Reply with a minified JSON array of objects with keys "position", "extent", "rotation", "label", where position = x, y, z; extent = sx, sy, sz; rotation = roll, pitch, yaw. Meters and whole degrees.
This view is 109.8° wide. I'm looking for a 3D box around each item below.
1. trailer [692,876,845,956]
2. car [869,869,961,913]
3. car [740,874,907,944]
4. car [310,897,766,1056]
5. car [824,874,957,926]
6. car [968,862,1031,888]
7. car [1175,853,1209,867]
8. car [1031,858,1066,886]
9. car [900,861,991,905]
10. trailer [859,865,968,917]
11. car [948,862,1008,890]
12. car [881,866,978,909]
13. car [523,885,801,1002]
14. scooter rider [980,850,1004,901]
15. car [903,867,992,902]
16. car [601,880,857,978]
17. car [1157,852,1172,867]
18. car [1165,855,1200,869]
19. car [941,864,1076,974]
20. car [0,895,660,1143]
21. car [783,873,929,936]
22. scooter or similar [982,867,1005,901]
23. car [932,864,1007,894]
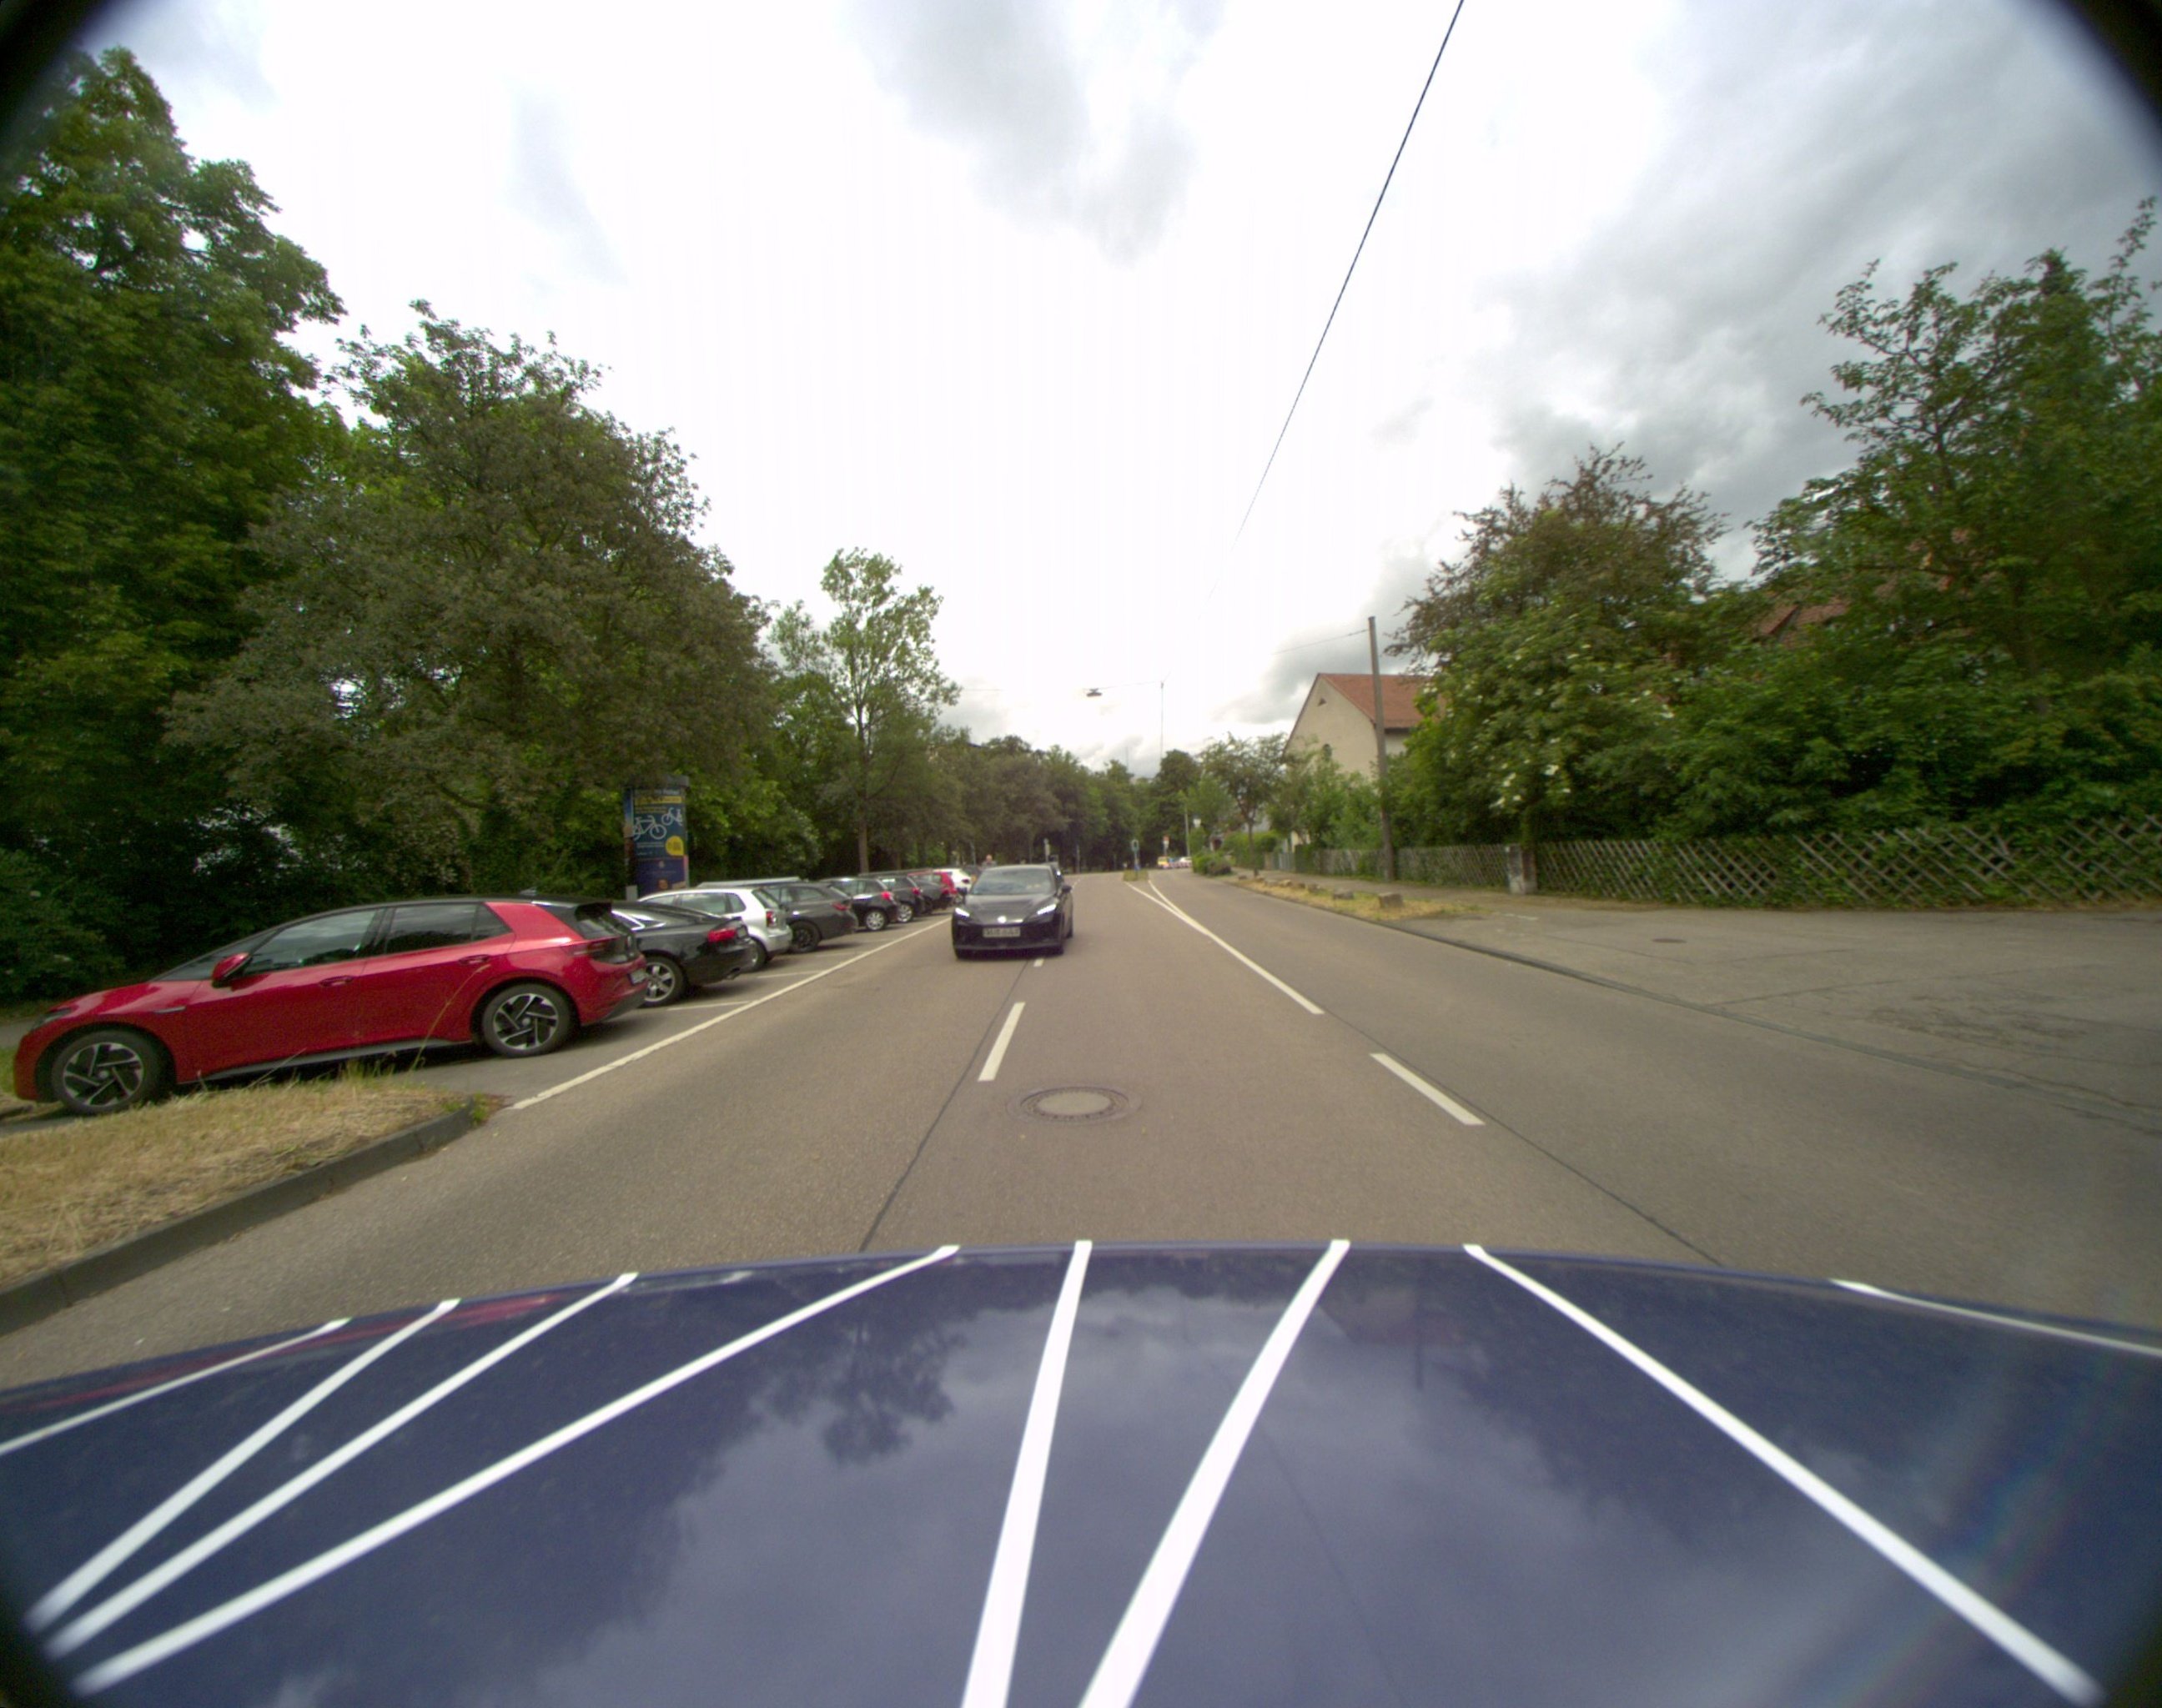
[{"position":[-7.150,1.383,17.639],"extent":[2.996,1.533,1.302],"rotation":[-4,-1,-12],"label":"trailer"},{"position":[-6.602,1.464,30.388],"extent":[3.436,1.437,1.558],"rotation":[-4,1,-11],"label":"car"},{"position":[-6.658,1.389,19.984],"extent":[3.853,1.446,1.633],"rotation":[-4,0,-10],"label":"car"},{"position":[-6.552,1.430,9.723],"extent":[4.328,1.333,1.732],"rotation":[-4,0,-13],"label":"car"},{"position":[-6.209,1.475,25.065],"extent":[4.050,1.320,1.558],"rotation":[-4,1,-10],"label":"car"},{"position":[-5.687,1.463,53.001],"extent":[4.149,1.467,1.575],"rotation":[-4,0,-11],"label":"car"},{"position":[14.016,0.792,95.971],"extent":[3.904,1.463,1.845],"rotation":[-3,-2,-7],"label":"car"},{"position":[-1.972,1.093,46.951],"extent":[1.814,1.520,4.000],"rotation":[-4,0,1],"label":"car"},{"position":[-6.294,1.327,35.427],"extent":[3.999,1.715,1.679],"rotation":[-4,1,-10],"label":"car"},{"position":[-6.096,1.332,27.934],"extent":[3.700,1.526,1.645],"rotation":[-5,0,-10],"label":"trailer"},{"position":[-6.514,1.391,47.860],"extent":[3.535,1.467,1.591],"rotation":[-4,0,-11],"label":"car"},{"position":[-6.494,1.429,32.874],"extent":[3.831,1.520,1.605],"rotation":[-4,1,-3],"label":"car"},{"position":[-6.685,1.379,12.535],"extent":[3.623,1.437,1.632],"rotation":[-4,0,-15],"label":"car"},{"position":[-3.180,0.766,27.345],"extent":[0.683,1.720,1.196],"rotation":[-4,0,-4],"label":"scooter rider"},{"position":[-6.642,1.493,38.003],"extent":[4.173,1.398,1.696],"rotation":[-4,1,-10],"label":"car"},{"position":[-6.779,1.409,15.144],"extent":[4.360,1.437,1.632],"rotation":[-4,0,-17],"label":"car"},{"position":[11.719,0.788,106.729],"extent":[1.920,1.977,4.803],"rotation":[-3,-1,5],"label":"car"},{"position":[13.169,1.042,98.428],"extent":[4.175,1.537,1.846],"rotation":[-3,-2,0],"label":"car"},{"position":[-1.123,1.033,13.814],"extent":[1.803,1.541,4.299],"rotation":[-3,0,2],"label":"car"},{"position":[-6.463,1.308,7.102],"extent":[4.087,1.506,1.731],"rotation":[-3,0,-18],"label":"car"},{"position":[-6.554,1.437,22.537],"extent":[3.925,1.478,1.616],"rotation":[-4,0,-11],"label":"car"},{"position":[-3.148,1.069,27.317],"extent":[0.683,1.132,1.459],"rotation":[-4,0,-4],"label":"scooter or similar"},{"position":[-6.606,1.480,45.223],"extent":[4.232,1.455,1.634],"rotation":[-4,0,-8],"label":"car"}]
